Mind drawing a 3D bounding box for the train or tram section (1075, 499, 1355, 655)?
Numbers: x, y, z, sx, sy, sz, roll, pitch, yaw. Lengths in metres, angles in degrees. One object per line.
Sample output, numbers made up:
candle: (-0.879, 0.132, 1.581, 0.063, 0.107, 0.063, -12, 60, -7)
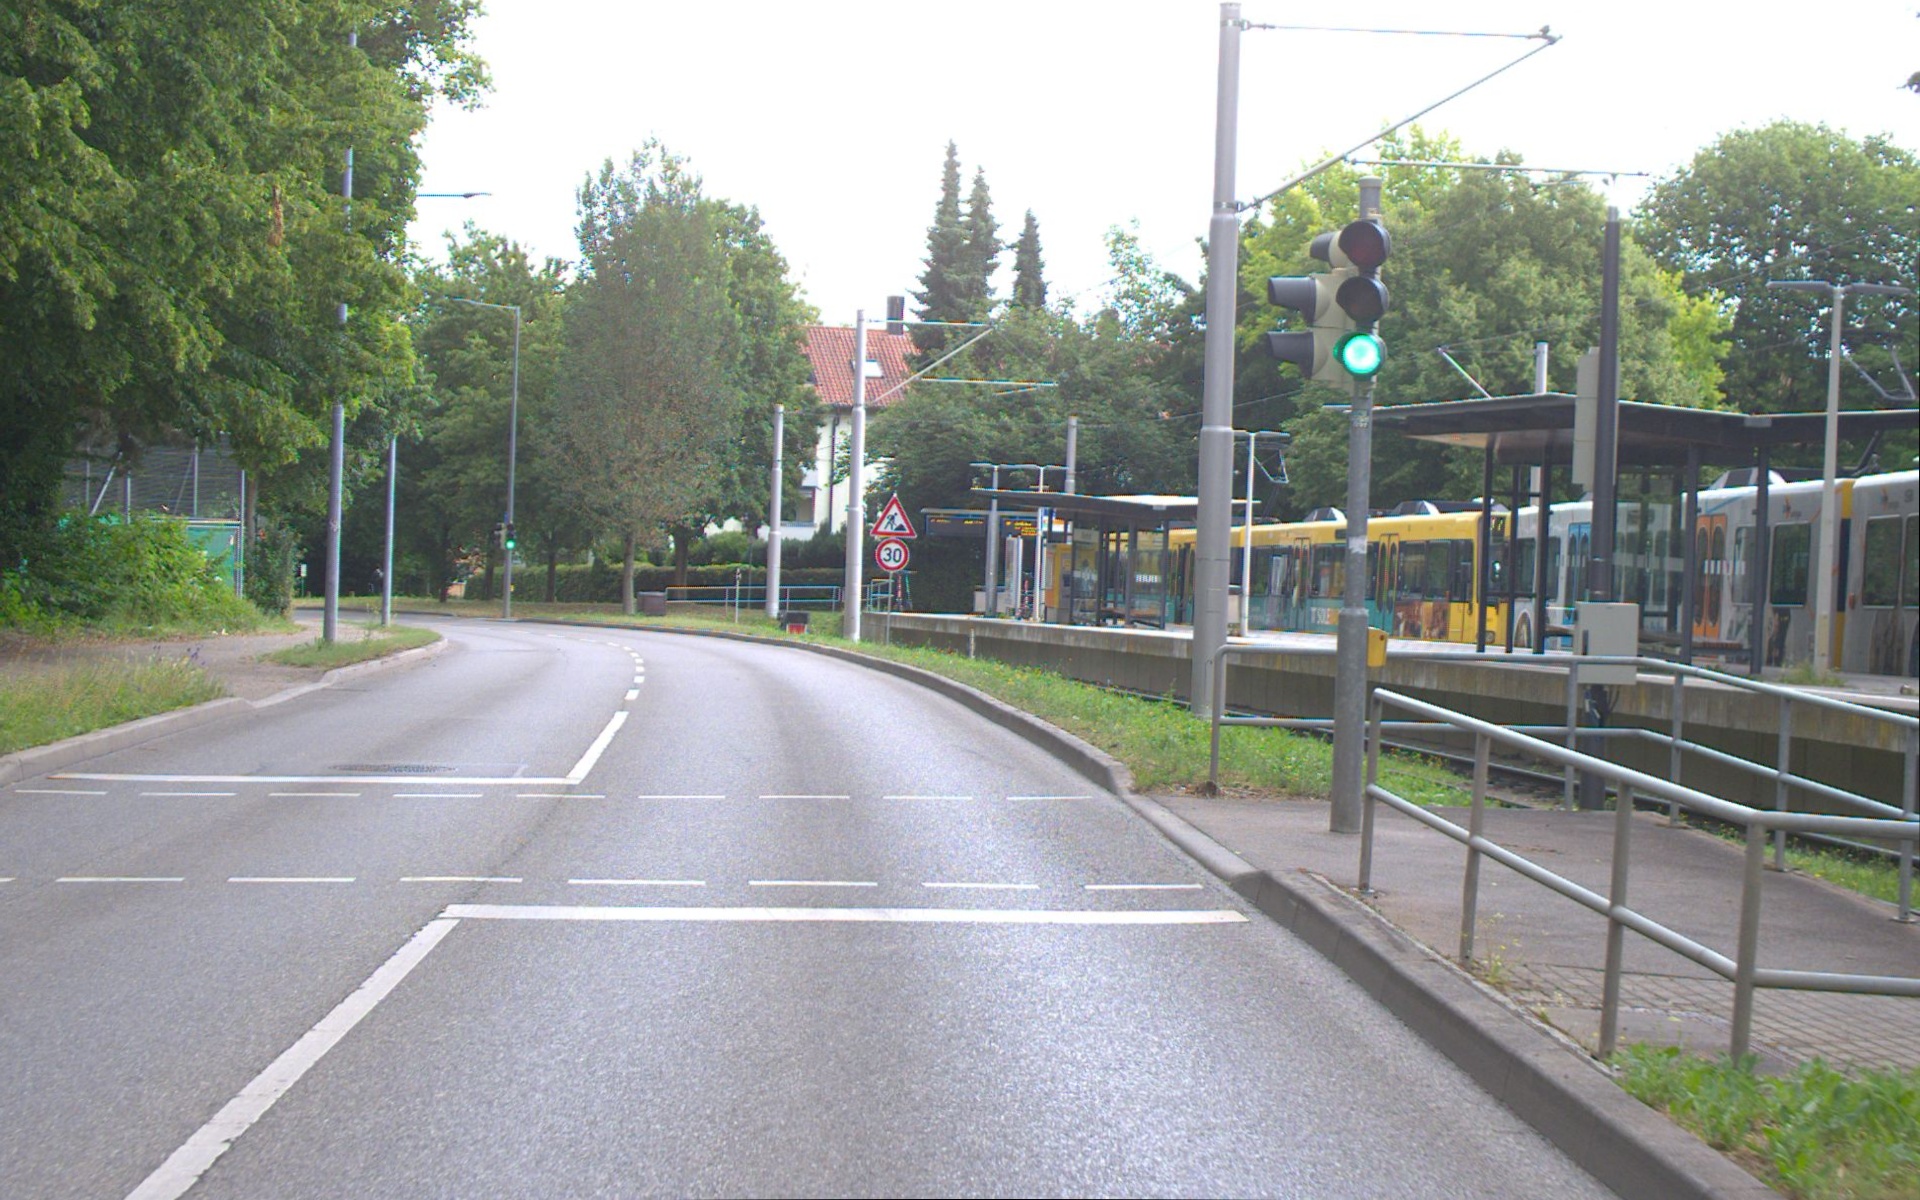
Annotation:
train or tram section: (6.383, -0.664, 91.215, 2.812, 3.576, 19.519, 3, 0, -9)

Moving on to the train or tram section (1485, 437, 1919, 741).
train or tram section: (11.691, -0.179, 53.068, 2.813, 3.786, 18.936, 3, 0, -4)

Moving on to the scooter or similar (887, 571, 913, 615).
scooter or similar: (-1.736, -0.207, 99.369, 0.429, 1.249, 1.255, 1, -2, -18)

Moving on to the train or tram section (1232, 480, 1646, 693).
train or tram section: (9.438, -0.362, 71.766, 2.812, 3.724, 19.519, 3, 0, -9)

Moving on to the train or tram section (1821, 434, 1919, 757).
train or tram section: (12.557, 0.033, 34.208, 2.813, 3.724, 18.533, 3, 0, -1)

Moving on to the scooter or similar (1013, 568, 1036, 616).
scooter or similar: (1.671, -0.219, 89.614, 0.368, 1.238, 1.146, 1, 0, -9)
